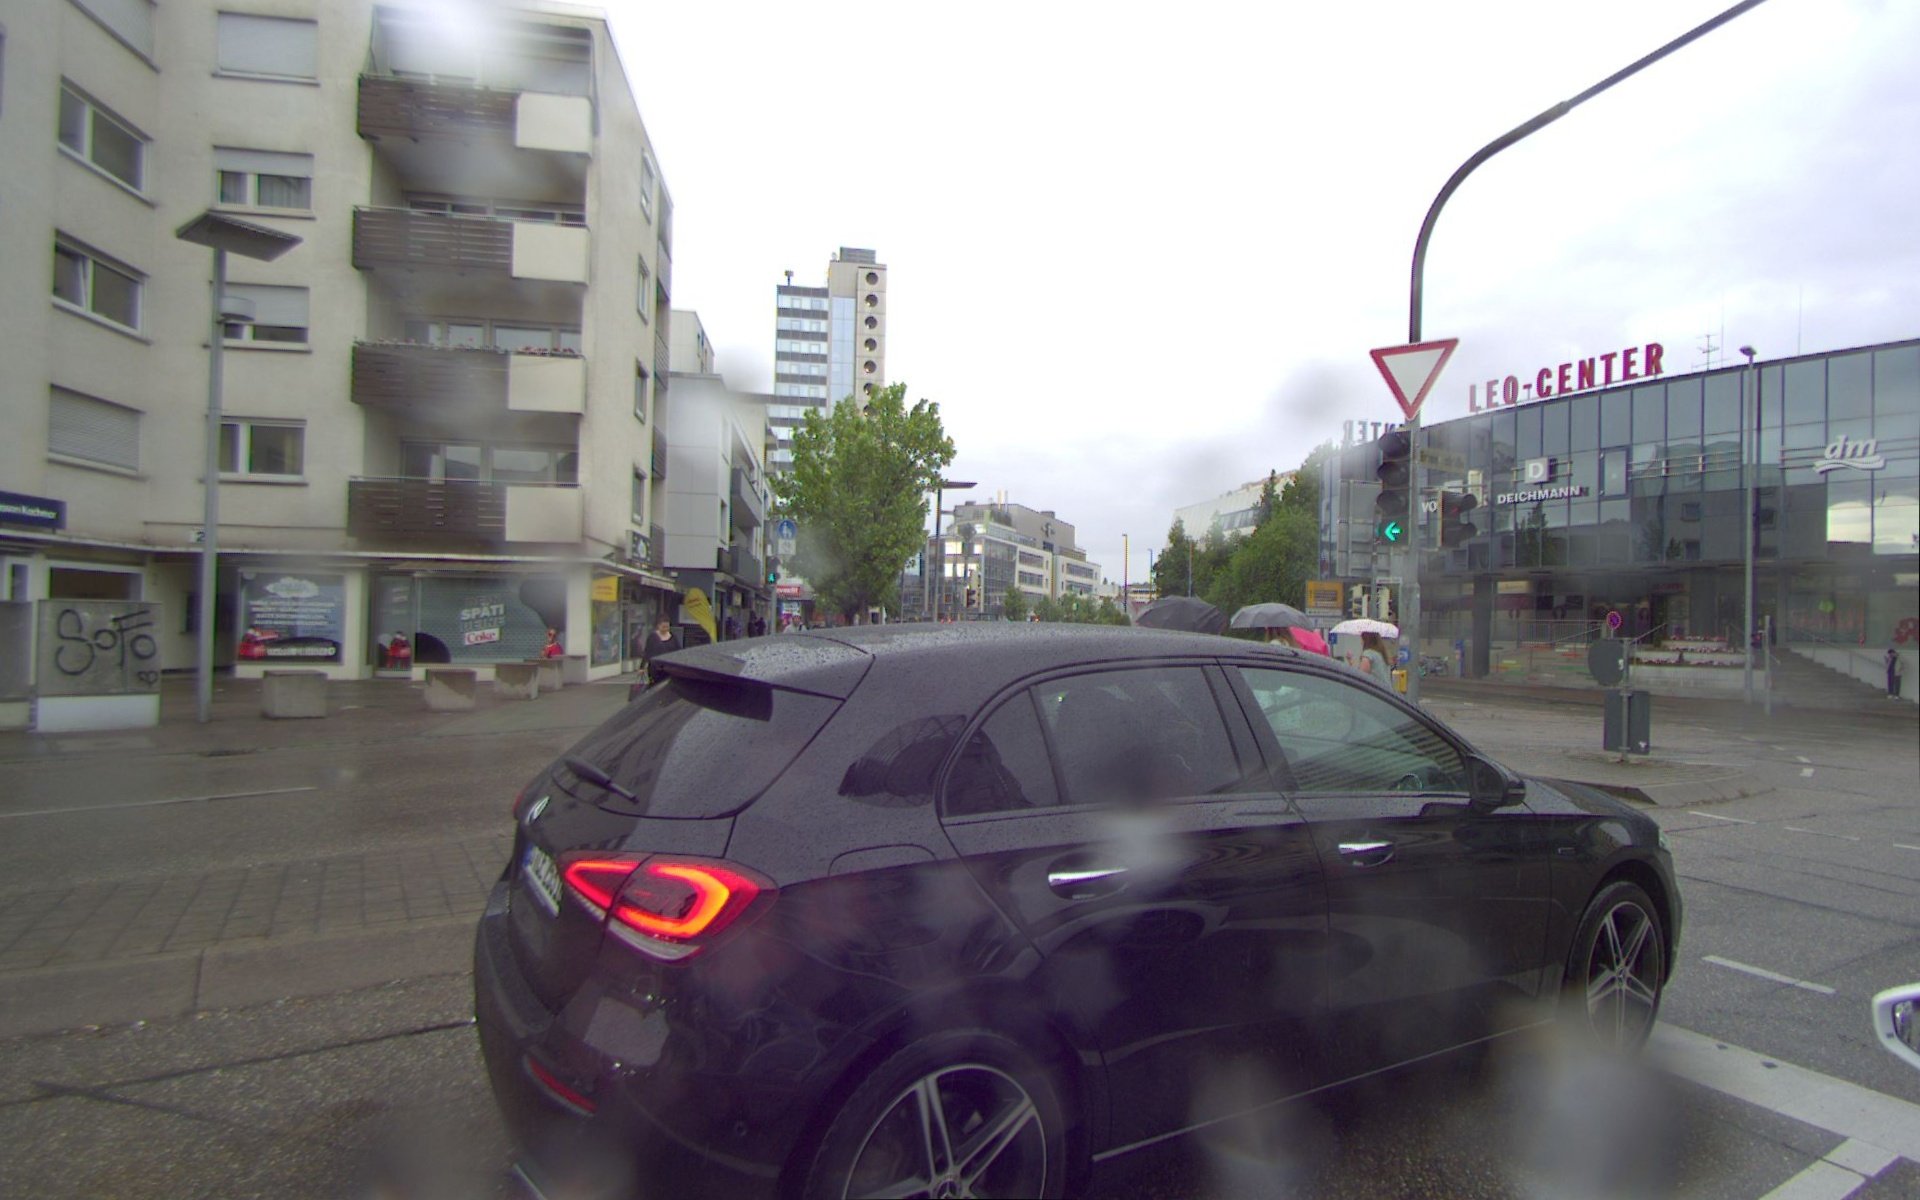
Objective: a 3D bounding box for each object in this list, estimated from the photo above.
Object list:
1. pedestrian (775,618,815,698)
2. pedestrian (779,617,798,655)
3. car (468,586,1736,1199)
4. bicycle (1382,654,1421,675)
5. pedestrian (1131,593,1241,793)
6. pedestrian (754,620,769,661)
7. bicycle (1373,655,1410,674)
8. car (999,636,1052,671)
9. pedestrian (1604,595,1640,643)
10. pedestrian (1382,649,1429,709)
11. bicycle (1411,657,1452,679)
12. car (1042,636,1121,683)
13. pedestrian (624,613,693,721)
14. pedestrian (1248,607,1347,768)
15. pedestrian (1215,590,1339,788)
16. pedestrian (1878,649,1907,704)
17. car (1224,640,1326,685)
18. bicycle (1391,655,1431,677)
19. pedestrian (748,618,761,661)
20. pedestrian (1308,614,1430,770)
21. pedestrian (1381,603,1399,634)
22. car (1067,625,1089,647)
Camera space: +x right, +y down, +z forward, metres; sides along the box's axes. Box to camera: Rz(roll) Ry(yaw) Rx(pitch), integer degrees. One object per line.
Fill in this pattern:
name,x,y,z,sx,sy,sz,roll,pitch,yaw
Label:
pedestrian,-3.538,1.231,21.547,0.800,1.677,0.713,2,-2,-10
pedestrian,-8.364,1.754,49.086,0.859,1.835,0.923,2,-1,-10
car,0.704,0.766,3.335,4.049,1.501,1.653,1,1,-32
bicycle,23.184,3.404,52.758,1.822,1.047,0.628,-1,-1,-12
pedestrian,2.106,0.842,9.432,0.934,1.759,0.837,1,-2,11
pedestrian,-8.867,1.803,44.849,0.557,1.817,0.491,1,-2,-4
bicycle,22.950,3.440,53.422,1.821,0.964,0.535,-1,0,-9
car,2.832,2.320,44.134,1.415,1.314,3.769,2,-1,-11
pedestrian,28.968,0.831,43.990,0.936,2.040,0.830,3,0,-12
pedestrian,12.692,2.248,28.640,0.795,1.644,0.950,2,-2,-12
bicycle,23.681,3.403,50.434,1.822,1.036,0.631,0,-2,-12
car,4.172,2.040,35.364,2.082,1.432,5.147,3,-2,0
pedestrian,-4.636,1.025,15.430,0.901,1.606,0.654,2,-2,-24
pedestrian,3.754,0.956,11.191,0.796,1.707,0.670,3,-2,-25
pedestrian,3.024,0.825,9.685,0.843,1.767,1.139,2,-2,2
pedestrian,33.848,2.755,36.467,0.589,1.933,0.651,3,-1,-38
car,11.582,2.281,37.239,1.718,1.460,3.980,2,-1,-15
bicycle,23.341,3.401,52.016,1.822,1.056,0.646,-1,-1,-12
pedestrian,-8.301,1.595,40.593,0.441,1.746,0.499,2,-2,-13
pedestrian,4.732,1.031,11.638,0.906,1.699,0.931,3,-2,-30
pedestrian,24.449,1.052,57.135,0.642,1.736,0.599,3,0,-7
car,11.250,3.401,96.031,2.008,1.921,4.141,2,-1,6
